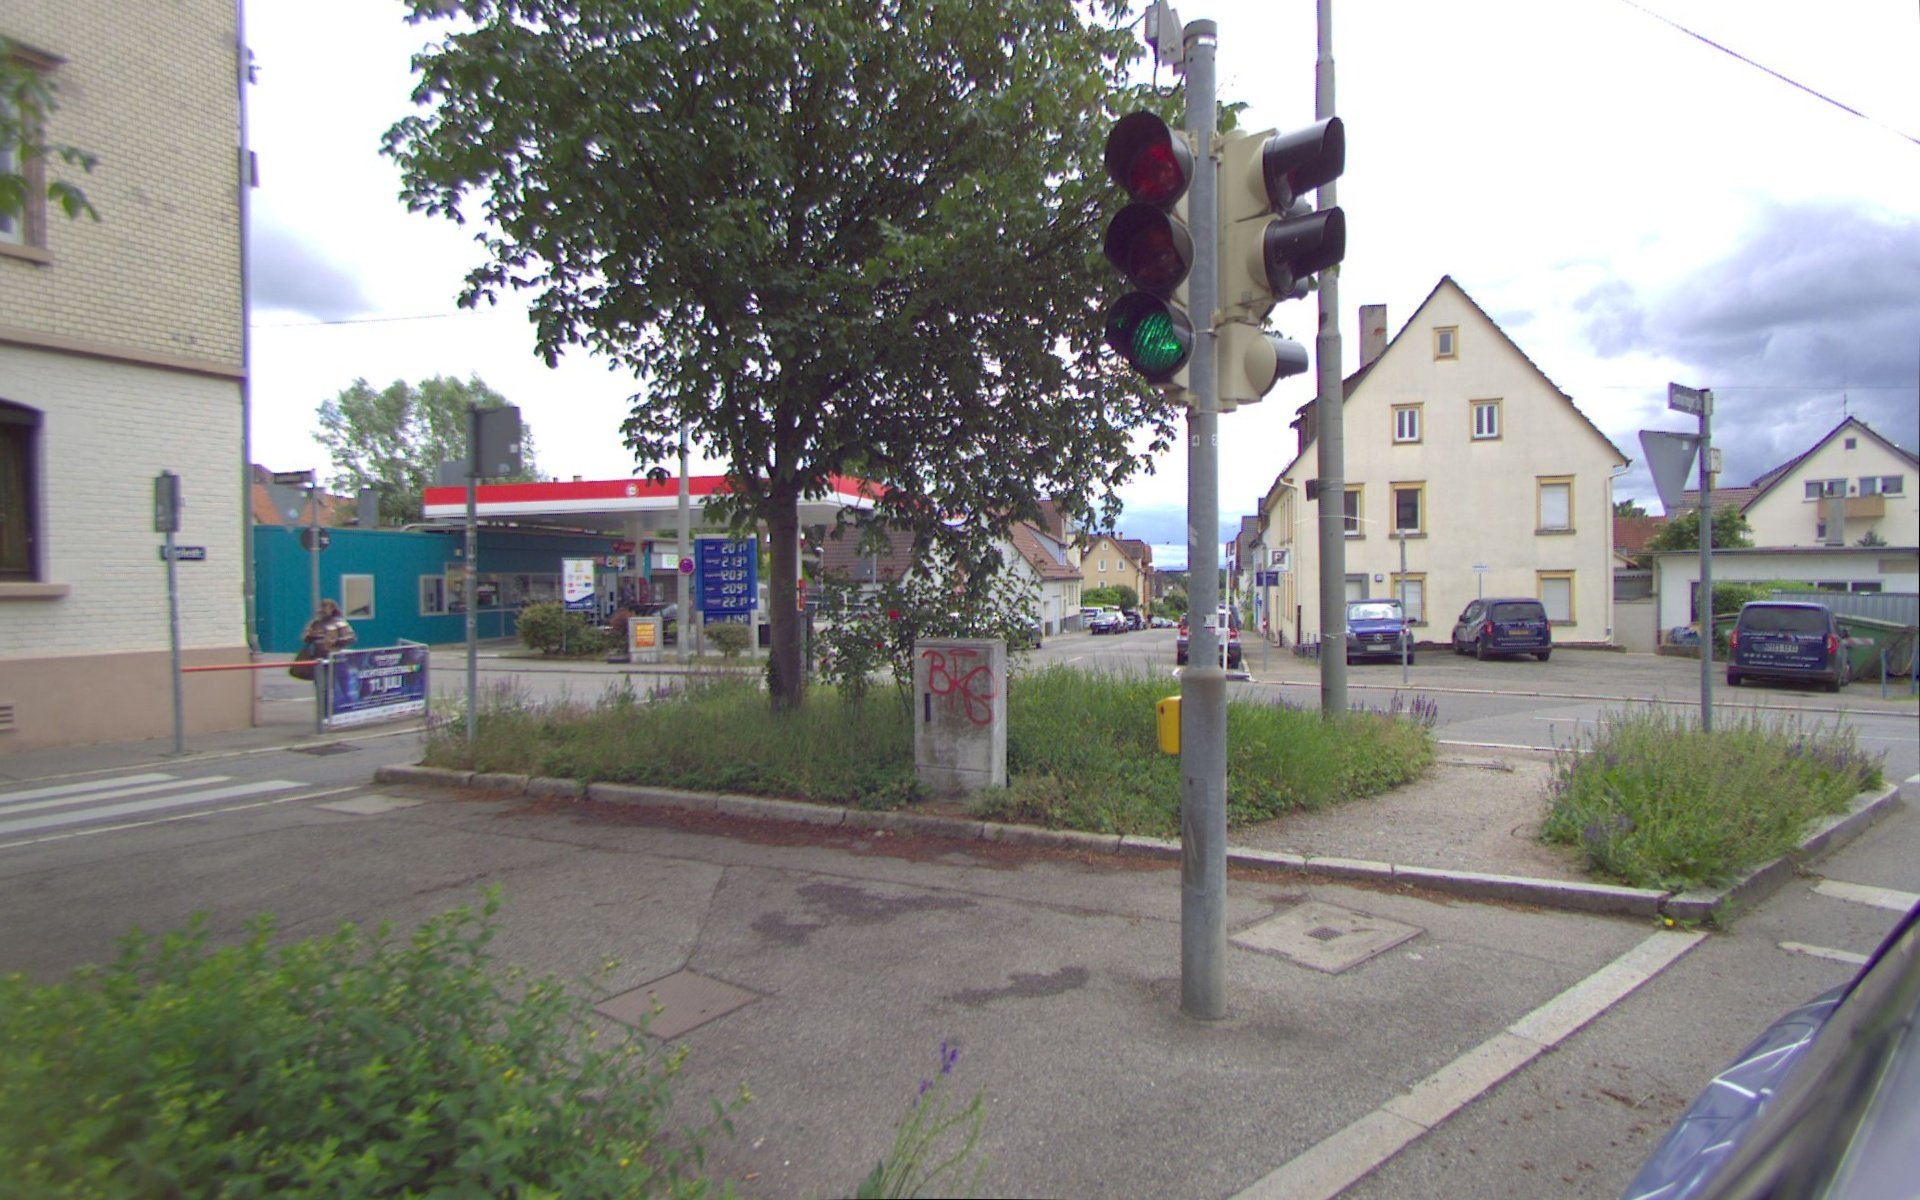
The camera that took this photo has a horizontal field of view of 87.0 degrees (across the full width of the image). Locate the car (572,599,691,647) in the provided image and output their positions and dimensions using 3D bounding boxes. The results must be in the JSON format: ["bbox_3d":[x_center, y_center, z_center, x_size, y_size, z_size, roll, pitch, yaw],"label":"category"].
[{"bbox_3d":[-11.501,0.745,35.758,1.897,1.480,4.463,0,1,16],"label":"car"}]

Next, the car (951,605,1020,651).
[{"bbox_3d":[0.998,0.966,36.974,1.605,1.493,3.749,0,1,17],"label":"car"}]

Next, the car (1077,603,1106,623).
[{"bbox_3d":[11.215,1.125,86.223,1.850,1.617,3.880,-1,-2,16],"label":"car"}]

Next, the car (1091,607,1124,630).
[{"bbox_3d":[10.756,1.351,73.679,1.850,1.617,3.880,-1,-2,16],"label":"car"}]

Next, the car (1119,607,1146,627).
[{"bbox_3d":[14.497,1.463,84.869,1.850,1.617,3.880,-1,-2,16],"label":"car"}]

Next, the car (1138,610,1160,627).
[{"bbox_3d":[18.462,1.819,98.771,1.850,1.617,3.880,-1,-2,16],"label":"car"}]

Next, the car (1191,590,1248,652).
[{"bbox_3d":[9.141,0.738,35.674,1.750,1.968,4.303,2,-1,15],"label":"car"}]

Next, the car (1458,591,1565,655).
[{"bbox_3d":[16.134,0.690,29.803,1.843,1.750,3.979,-1,-2,15],"label":"car"}]

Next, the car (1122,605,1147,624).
[{"bbox_3d":[15.646,1.298,90.598,1.850,1.617,3.880,-1,-2,16],"label":"car"}]

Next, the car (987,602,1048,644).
[{"bbox_3d":[2.406,0.947,41.567,1.698,1.617,3.979,-1,-2,16],"label":"car"}]

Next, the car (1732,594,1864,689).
[{"bbox_3d":[18.036,0.842,21.713,1.747,1.761,4.497,3,1,45],"label":"car"}]

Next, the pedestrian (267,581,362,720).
[{"bbox_3d":[-8.503,0.651,13.385,0.842,1.755,1.023,0,-2,-21],"label":"pedestrian"}]

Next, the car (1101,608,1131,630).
[{"bbox_3d":[12.126,1.480,78.697,1.850,1.617,3.880,-1,-2,16],"label":"car"}]

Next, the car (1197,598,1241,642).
[{"bbox_3d":[11.001,0.873,42.915,1.698,1.753,3.979,-1,-2,16],"label":"car"}]

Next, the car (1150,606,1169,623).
[{"bbox_3d":[25.271,1.854,128.193,1.972,2.040,3.977,-1,-2,17],"label":"car"}]

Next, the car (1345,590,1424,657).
[{"bbox_3d":[12.521,0.711,30.091,1.879,1.826,4.859,-1,-2,20],"label":"car"}]

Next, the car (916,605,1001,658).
[{"bbox_3d":[0.020,0.993,32.203,1.750,1.499,3.811,2,-1,15],"label":"car"}]

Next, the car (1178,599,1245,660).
[{"bbox_3d":[7.399,0.864,29.751,1.749,1.639,3.980,-1,-2,15],"label":"car"}]
